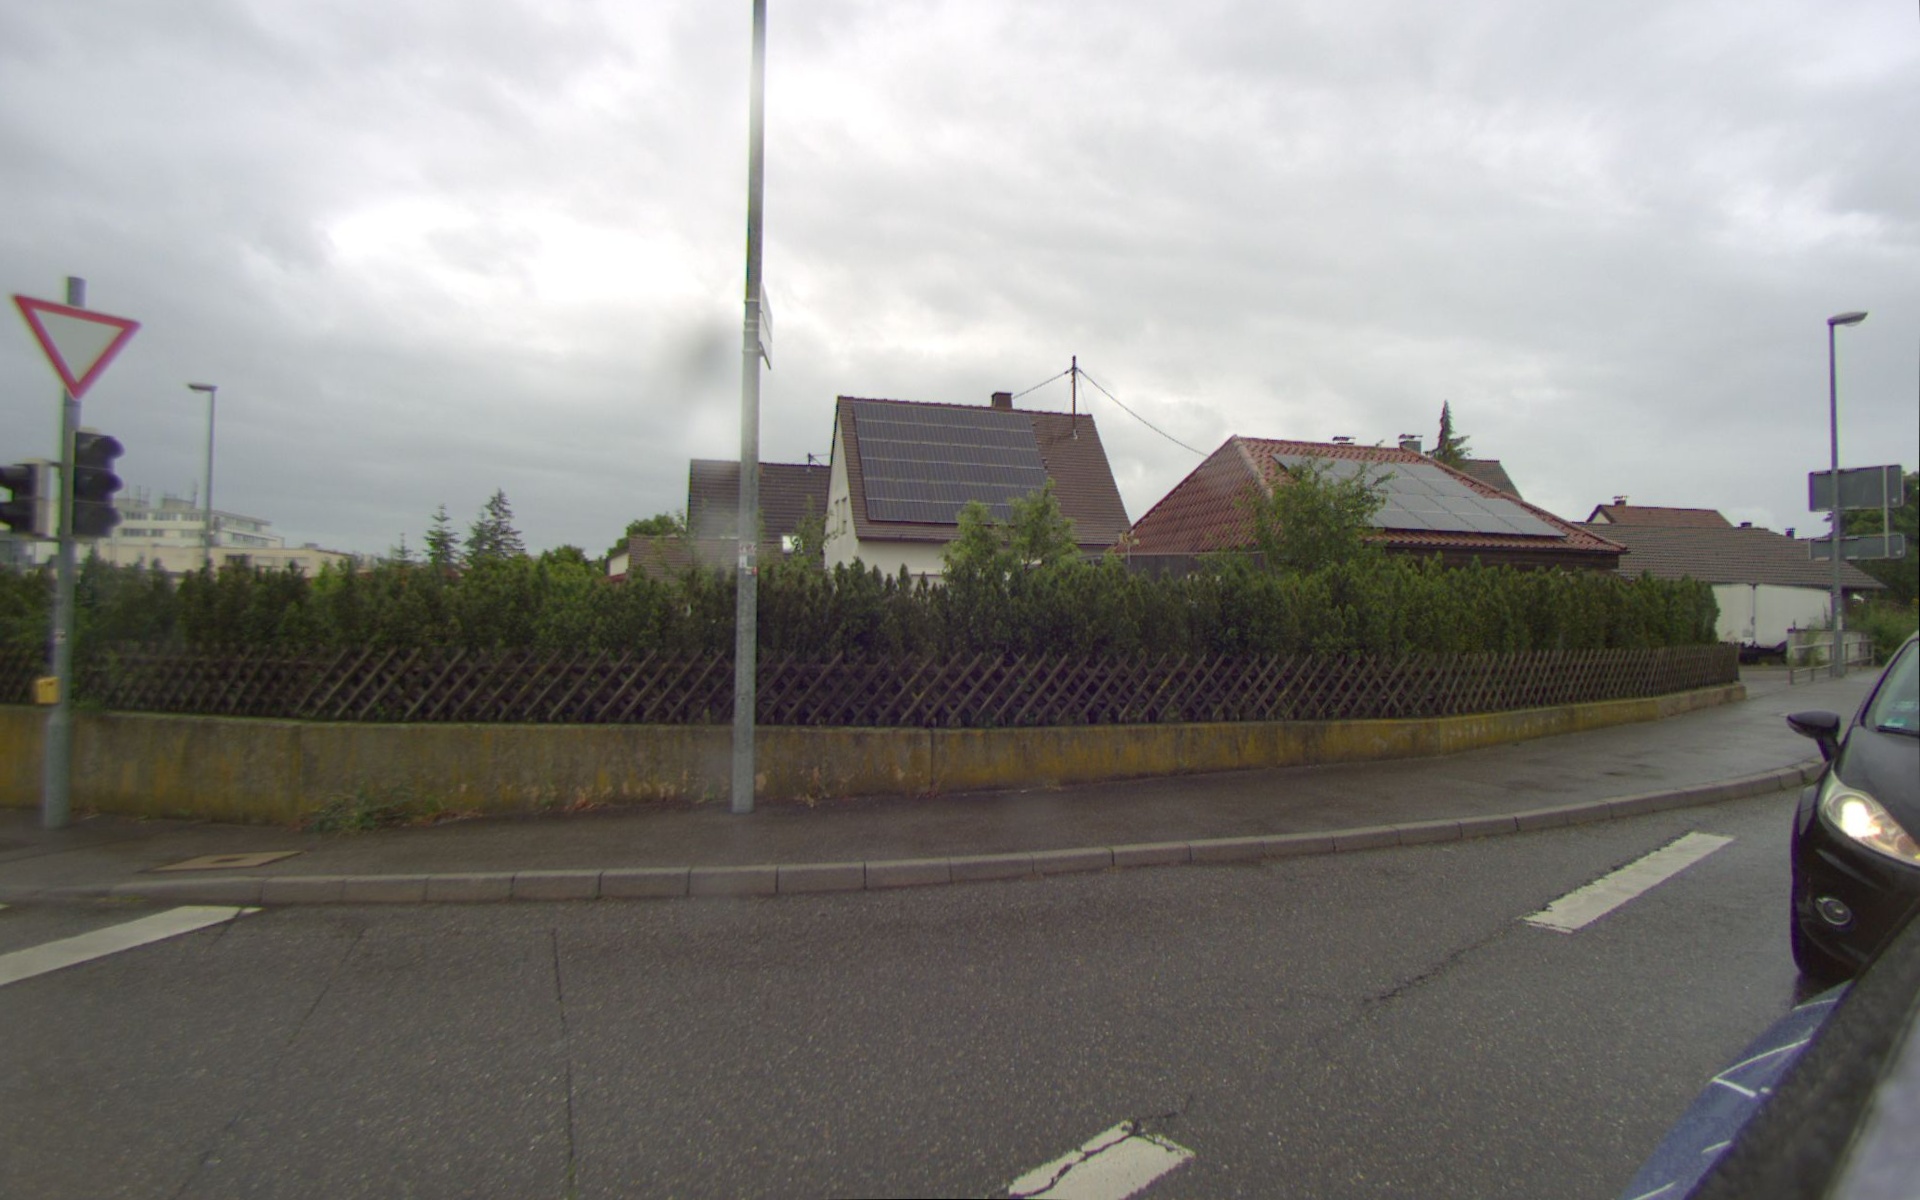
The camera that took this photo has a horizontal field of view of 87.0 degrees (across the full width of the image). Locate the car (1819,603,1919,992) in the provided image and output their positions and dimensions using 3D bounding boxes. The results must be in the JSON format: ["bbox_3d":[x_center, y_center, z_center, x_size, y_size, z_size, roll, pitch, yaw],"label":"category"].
[{"bbox_3d":[5.429,0.759,4.782,3.867,1.436,1.663,-1,0,-43],"label":"car"}]

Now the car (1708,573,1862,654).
[{"bbox_3d":[25.397,0.393,31.176,3.916,2.380,1.657,0,-1,-14],"label":"car"}]
